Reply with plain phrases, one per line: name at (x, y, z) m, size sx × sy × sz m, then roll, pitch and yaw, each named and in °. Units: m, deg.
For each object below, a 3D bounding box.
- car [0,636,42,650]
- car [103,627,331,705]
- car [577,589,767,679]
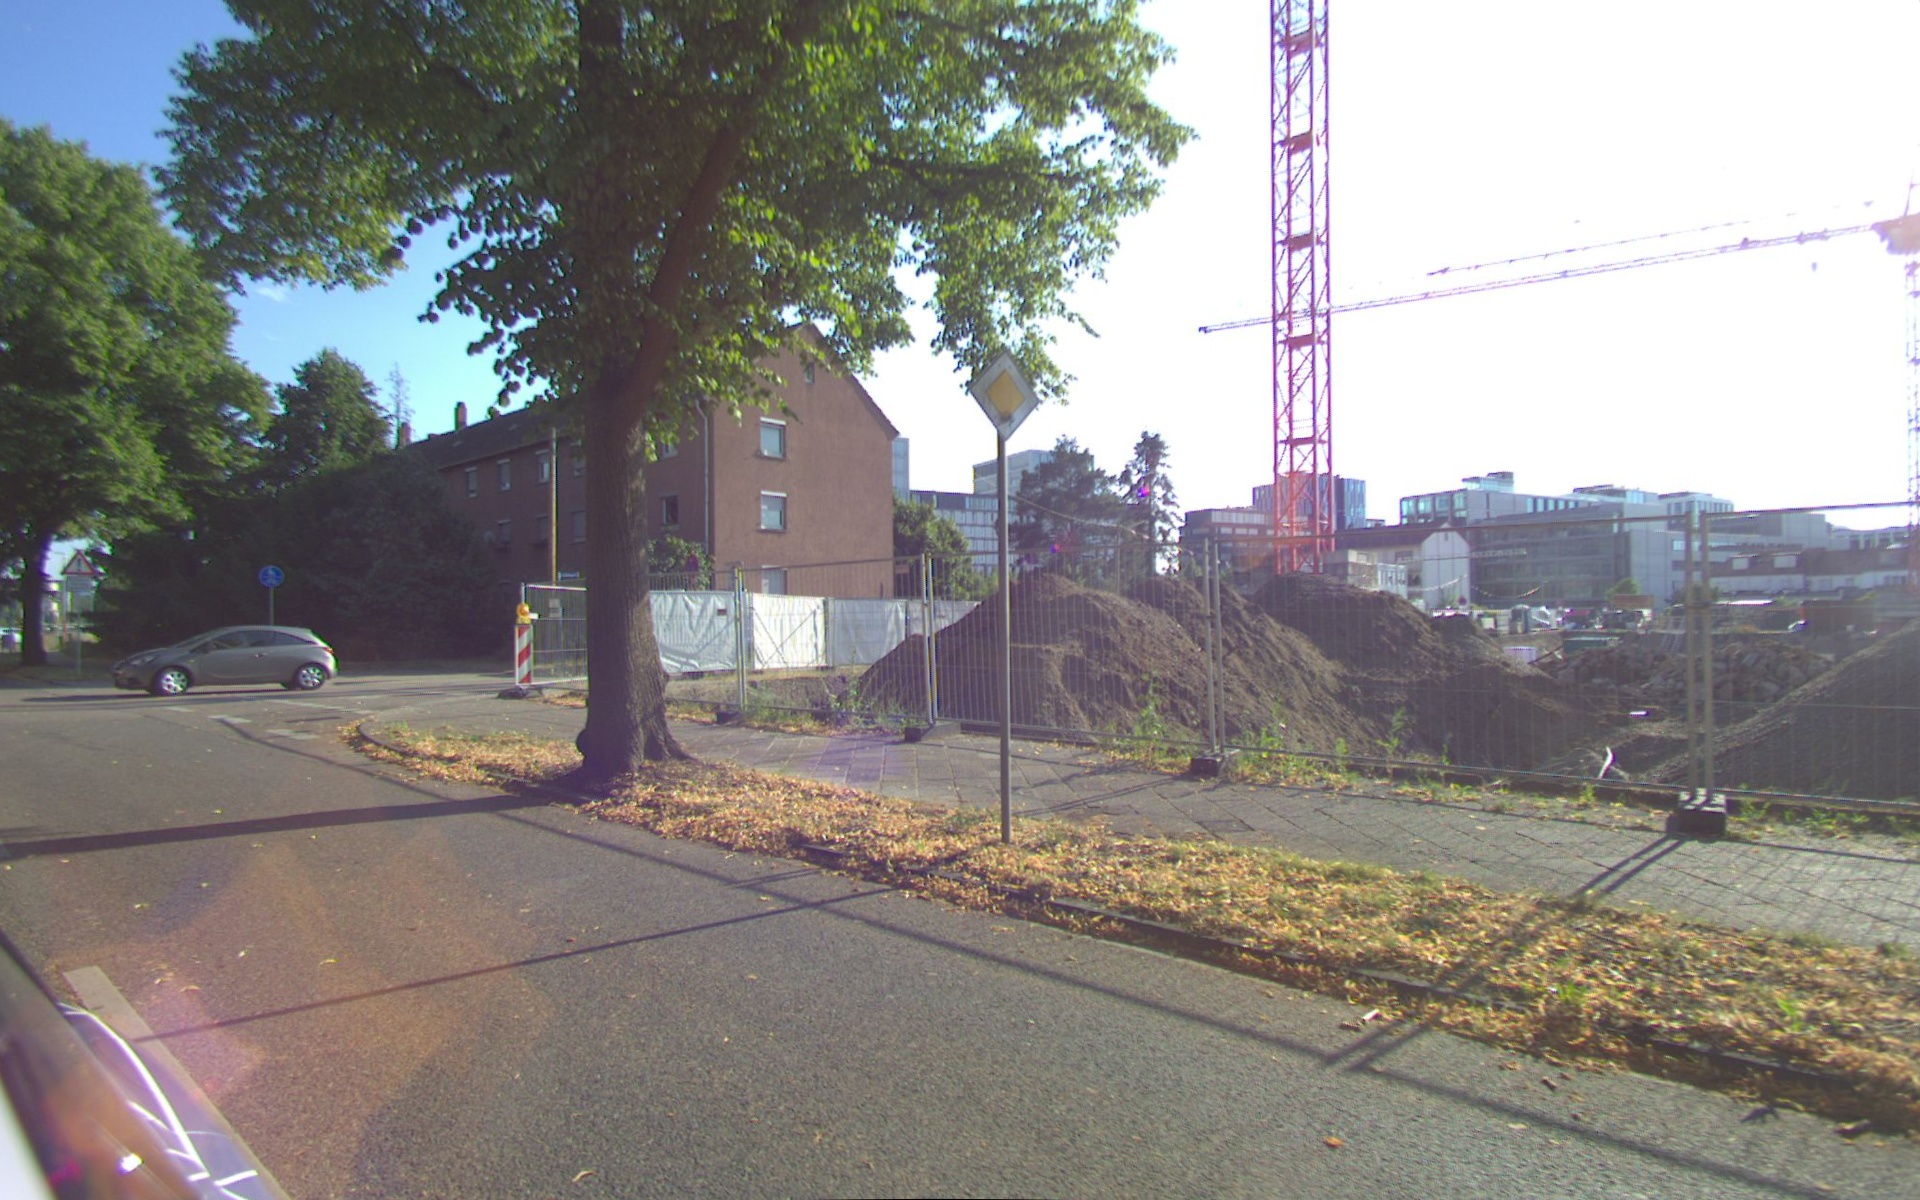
car at (-95.781, 4.334, 101.860) m, size 2.084 × 1.394 × 4.547 m, roll -1°, pitch -1°, yaw 27°
car at (-16.136, 1.368, 22.099) m, size 1.651 × 1.484 × 3.801 m, roll -2°, pitch -1°, yaw 43°
car at (-9.058, 1.124, 32.185) m, size 5.245 × 2.486 × 2.171 m, roll 5°, pitch 1°, yaw -44°
